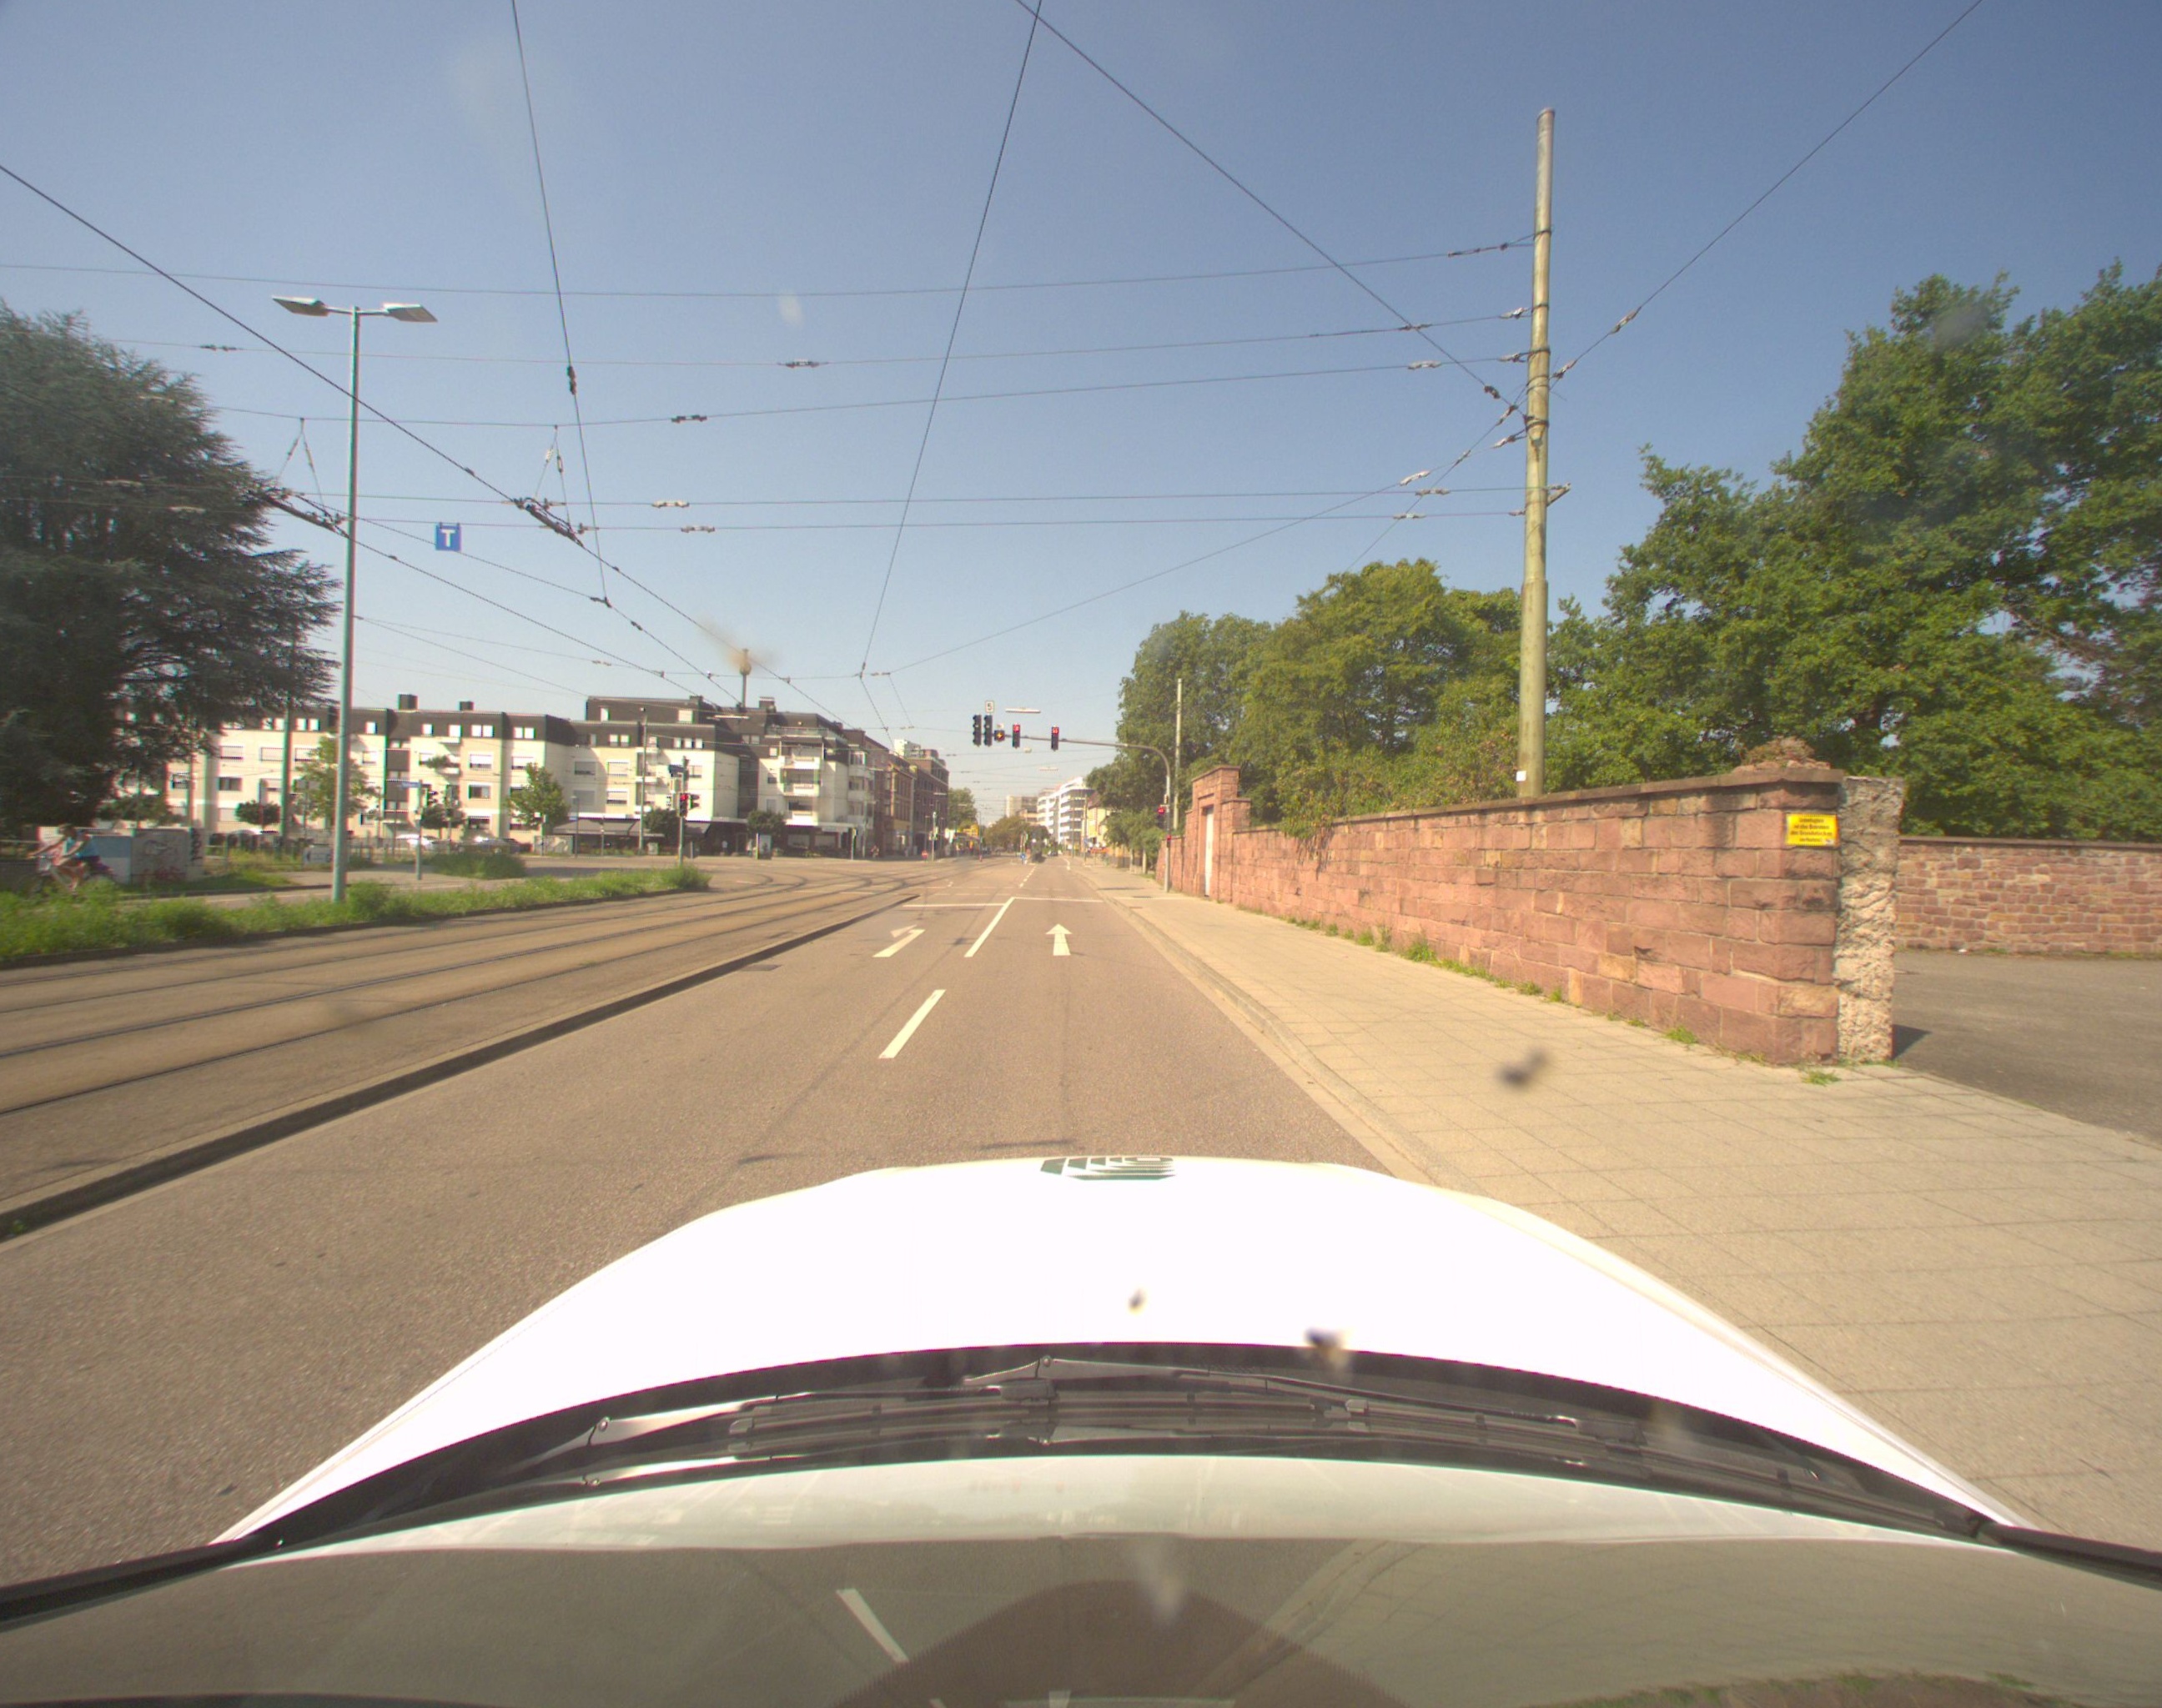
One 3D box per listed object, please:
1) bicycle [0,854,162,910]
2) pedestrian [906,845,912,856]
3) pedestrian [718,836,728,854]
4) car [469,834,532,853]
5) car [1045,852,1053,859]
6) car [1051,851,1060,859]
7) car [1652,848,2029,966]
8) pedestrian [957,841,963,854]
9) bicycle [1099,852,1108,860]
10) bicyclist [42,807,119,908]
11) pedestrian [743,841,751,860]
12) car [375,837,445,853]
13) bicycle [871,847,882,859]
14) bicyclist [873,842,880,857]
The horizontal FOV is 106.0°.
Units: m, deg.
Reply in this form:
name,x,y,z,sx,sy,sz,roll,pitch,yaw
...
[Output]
name,x,y,z,sx,sy,sz,roll,pitch,yaw
bicycle,-20.865,0.546,17.016,0.712,1.091,2.266,0,0,2
pedestrian,-24.694,-0.548,116.834,0.480,1.560,0.889,2,-1,9
pedestrian,-34.437,-0.833,78.416,0.677,1.741,0.697,0,0,-1
car,-51.395,-0.915,72.175,4.099,1.507,1.928,3,0,-3
car,-8.271,0.426,212.464,2.005,1.859,3.998,0,0,-1
car,-6.426,0.241,206.433,2.005,1.859,3.998,0,0,-1
car,10.904,0.715,11.882,3.958,1.464,1.776,2,1,-4
pedestrian,-17.104,-0.903,114.870,0.706,1.723,0.798,0,0,-2
bicycle,3.253,0.319,117.458,0.731,1.132,2.831,-2,0,-9
bicyclist,-20.855,0.065,16.992,0.635,2.064,0.774,0,0,0
pedestrian,-30.925,-0.302,75.376,0.602,1.745,0.560,0,0,-36
car,-53.867,-0.719,65.405,4.099,1.299,1.671,0,0,-3
bicycle,-21.070,-0.097,83.930,0.573,1.179,2.208,0,0,0
bicyclist,-21.070,-0.440,83.862,0.566,1.523,0.489,0,0,-1
